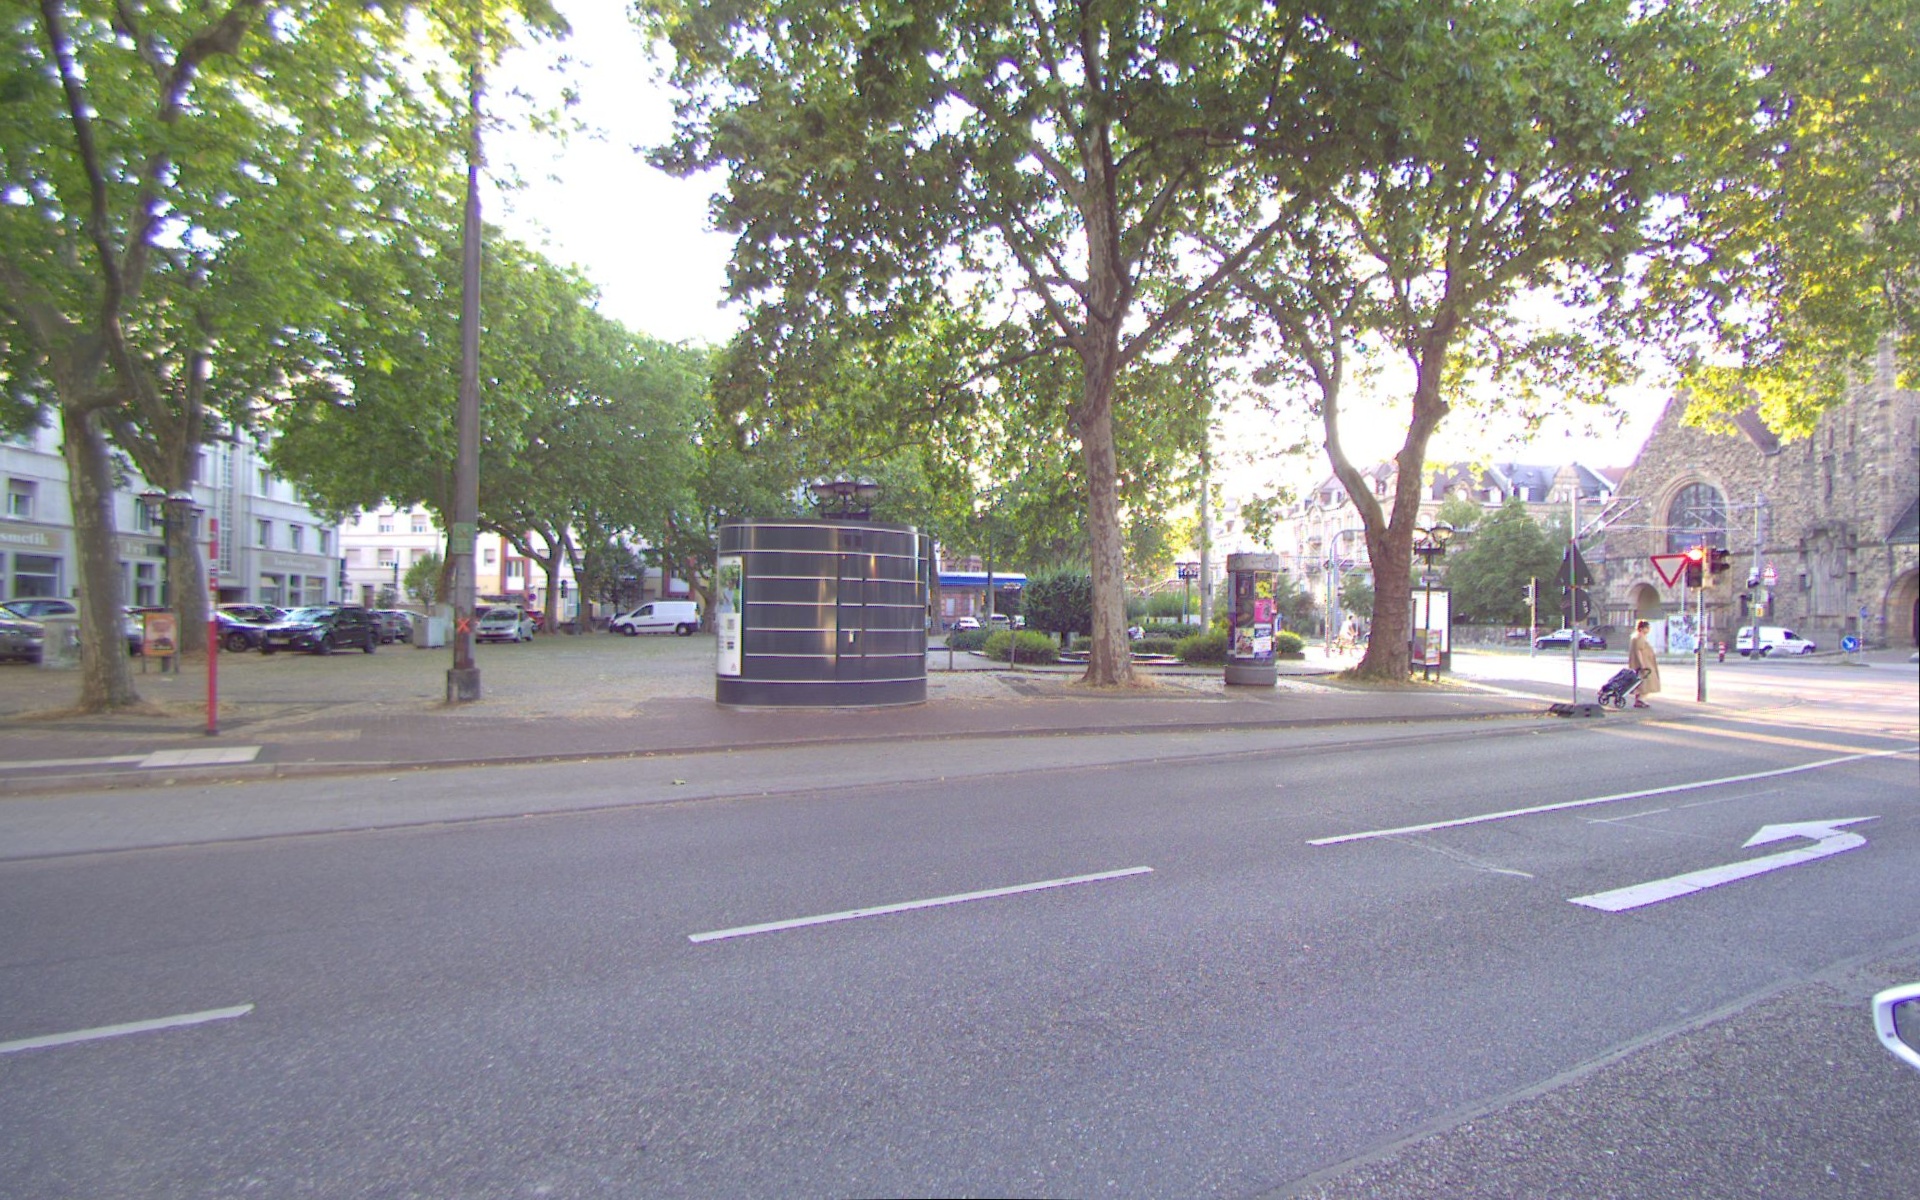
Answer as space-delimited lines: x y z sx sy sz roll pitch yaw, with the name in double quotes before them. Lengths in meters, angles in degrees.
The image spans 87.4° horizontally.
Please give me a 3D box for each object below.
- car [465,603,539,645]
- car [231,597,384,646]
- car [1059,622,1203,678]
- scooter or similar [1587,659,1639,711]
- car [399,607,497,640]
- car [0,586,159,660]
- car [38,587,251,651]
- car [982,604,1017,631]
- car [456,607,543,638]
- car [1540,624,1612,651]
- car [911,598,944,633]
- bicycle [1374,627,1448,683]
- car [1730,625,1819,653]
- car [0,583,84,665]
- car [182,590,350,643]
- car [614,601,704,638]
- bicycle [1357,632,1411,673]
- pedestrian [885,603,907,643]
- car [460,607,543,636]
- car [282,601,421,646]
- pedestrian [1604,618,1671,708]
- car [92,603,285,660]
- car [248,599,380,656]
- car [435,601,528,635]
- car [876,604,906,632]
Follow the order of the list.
"car" -19.789 0.999 43.582 1.642 1.684 3.760 2 0 -4
"car" -25.293 0.847 39.101 4.557 1.805 1.997 0 -2 -10
"car" 5.849 1.697 34.668 4.552 1.805 1.999 -1 -2 -5
"scooter or similar" 12.252 1.576 18.833 0.845 0.910 0.586 2 0 -41
"car" -27.718 1.269 54.563 4.572 1.758 1.990 0 -2 -22
"car" -23.679 0.593 25.692 4.557 1.805 1.997 0 -2 -10
"car" -24.450 0.572 30.290 4.557 1.805 1.997 0 -2 -10
"car" 2.851 1.278 73.317 1.882 1.873 3.995 2 0 -7
"car" -27.383 1.344 59.929 4.572 1.758 1.990 0 -2 -22
"car" 39.874 2.431 65.149 1.962 1.639 3.997 2 -2 -6
"car" -2.376 1.124 72.560 1.963 2.374 3.995 2 0 -7
"bicycle" 11.327 1.383 25.235 1.967 1.344 0.523 2 0 -26
"car" 50.965 2.451 62.914 4.372 1.537 1.718 2 0 -6
"car" -23.120 0.582 22.722 4.557 1.805 1.997 0 -2 -10
"car" -25.103 0.611 36.514 4.557 1.805 2.090 0 -2 -10
"car" -16.855 1.091 56.442 4.557 1.964 1.997 0 -2 -10
"bicycle" 11.942 1.466 28.263 1.780 1.107 0.455 2 0 -33
"pedestrian" -2.843 1.016 44.395 0.869 1.694 0.740 2 0 -8
"car" -28.351 1.335 62.300 4.572 1.758 1.990 0 -2 -22
"car" -25.507 0.991 42.266 4.557 1.758 1.997 0 -2 -10
"pedestrian" 12.986 1.191 19.257 0.766 1.649 0.796 2 0 -35
"car" -25.111 1.025 32.870 4.557 1.758 1.997 0 -2 -10
"car" -19.219 0.813 30.101 1.642 1.549 3.760 2 -2 -4
"car" -27.138 1.034 57.168 4.578 1.834 1.992 0 -2 -20
"car" -5.013 1.279 72.314 1.882 1.873 3.995 2 0 -7
